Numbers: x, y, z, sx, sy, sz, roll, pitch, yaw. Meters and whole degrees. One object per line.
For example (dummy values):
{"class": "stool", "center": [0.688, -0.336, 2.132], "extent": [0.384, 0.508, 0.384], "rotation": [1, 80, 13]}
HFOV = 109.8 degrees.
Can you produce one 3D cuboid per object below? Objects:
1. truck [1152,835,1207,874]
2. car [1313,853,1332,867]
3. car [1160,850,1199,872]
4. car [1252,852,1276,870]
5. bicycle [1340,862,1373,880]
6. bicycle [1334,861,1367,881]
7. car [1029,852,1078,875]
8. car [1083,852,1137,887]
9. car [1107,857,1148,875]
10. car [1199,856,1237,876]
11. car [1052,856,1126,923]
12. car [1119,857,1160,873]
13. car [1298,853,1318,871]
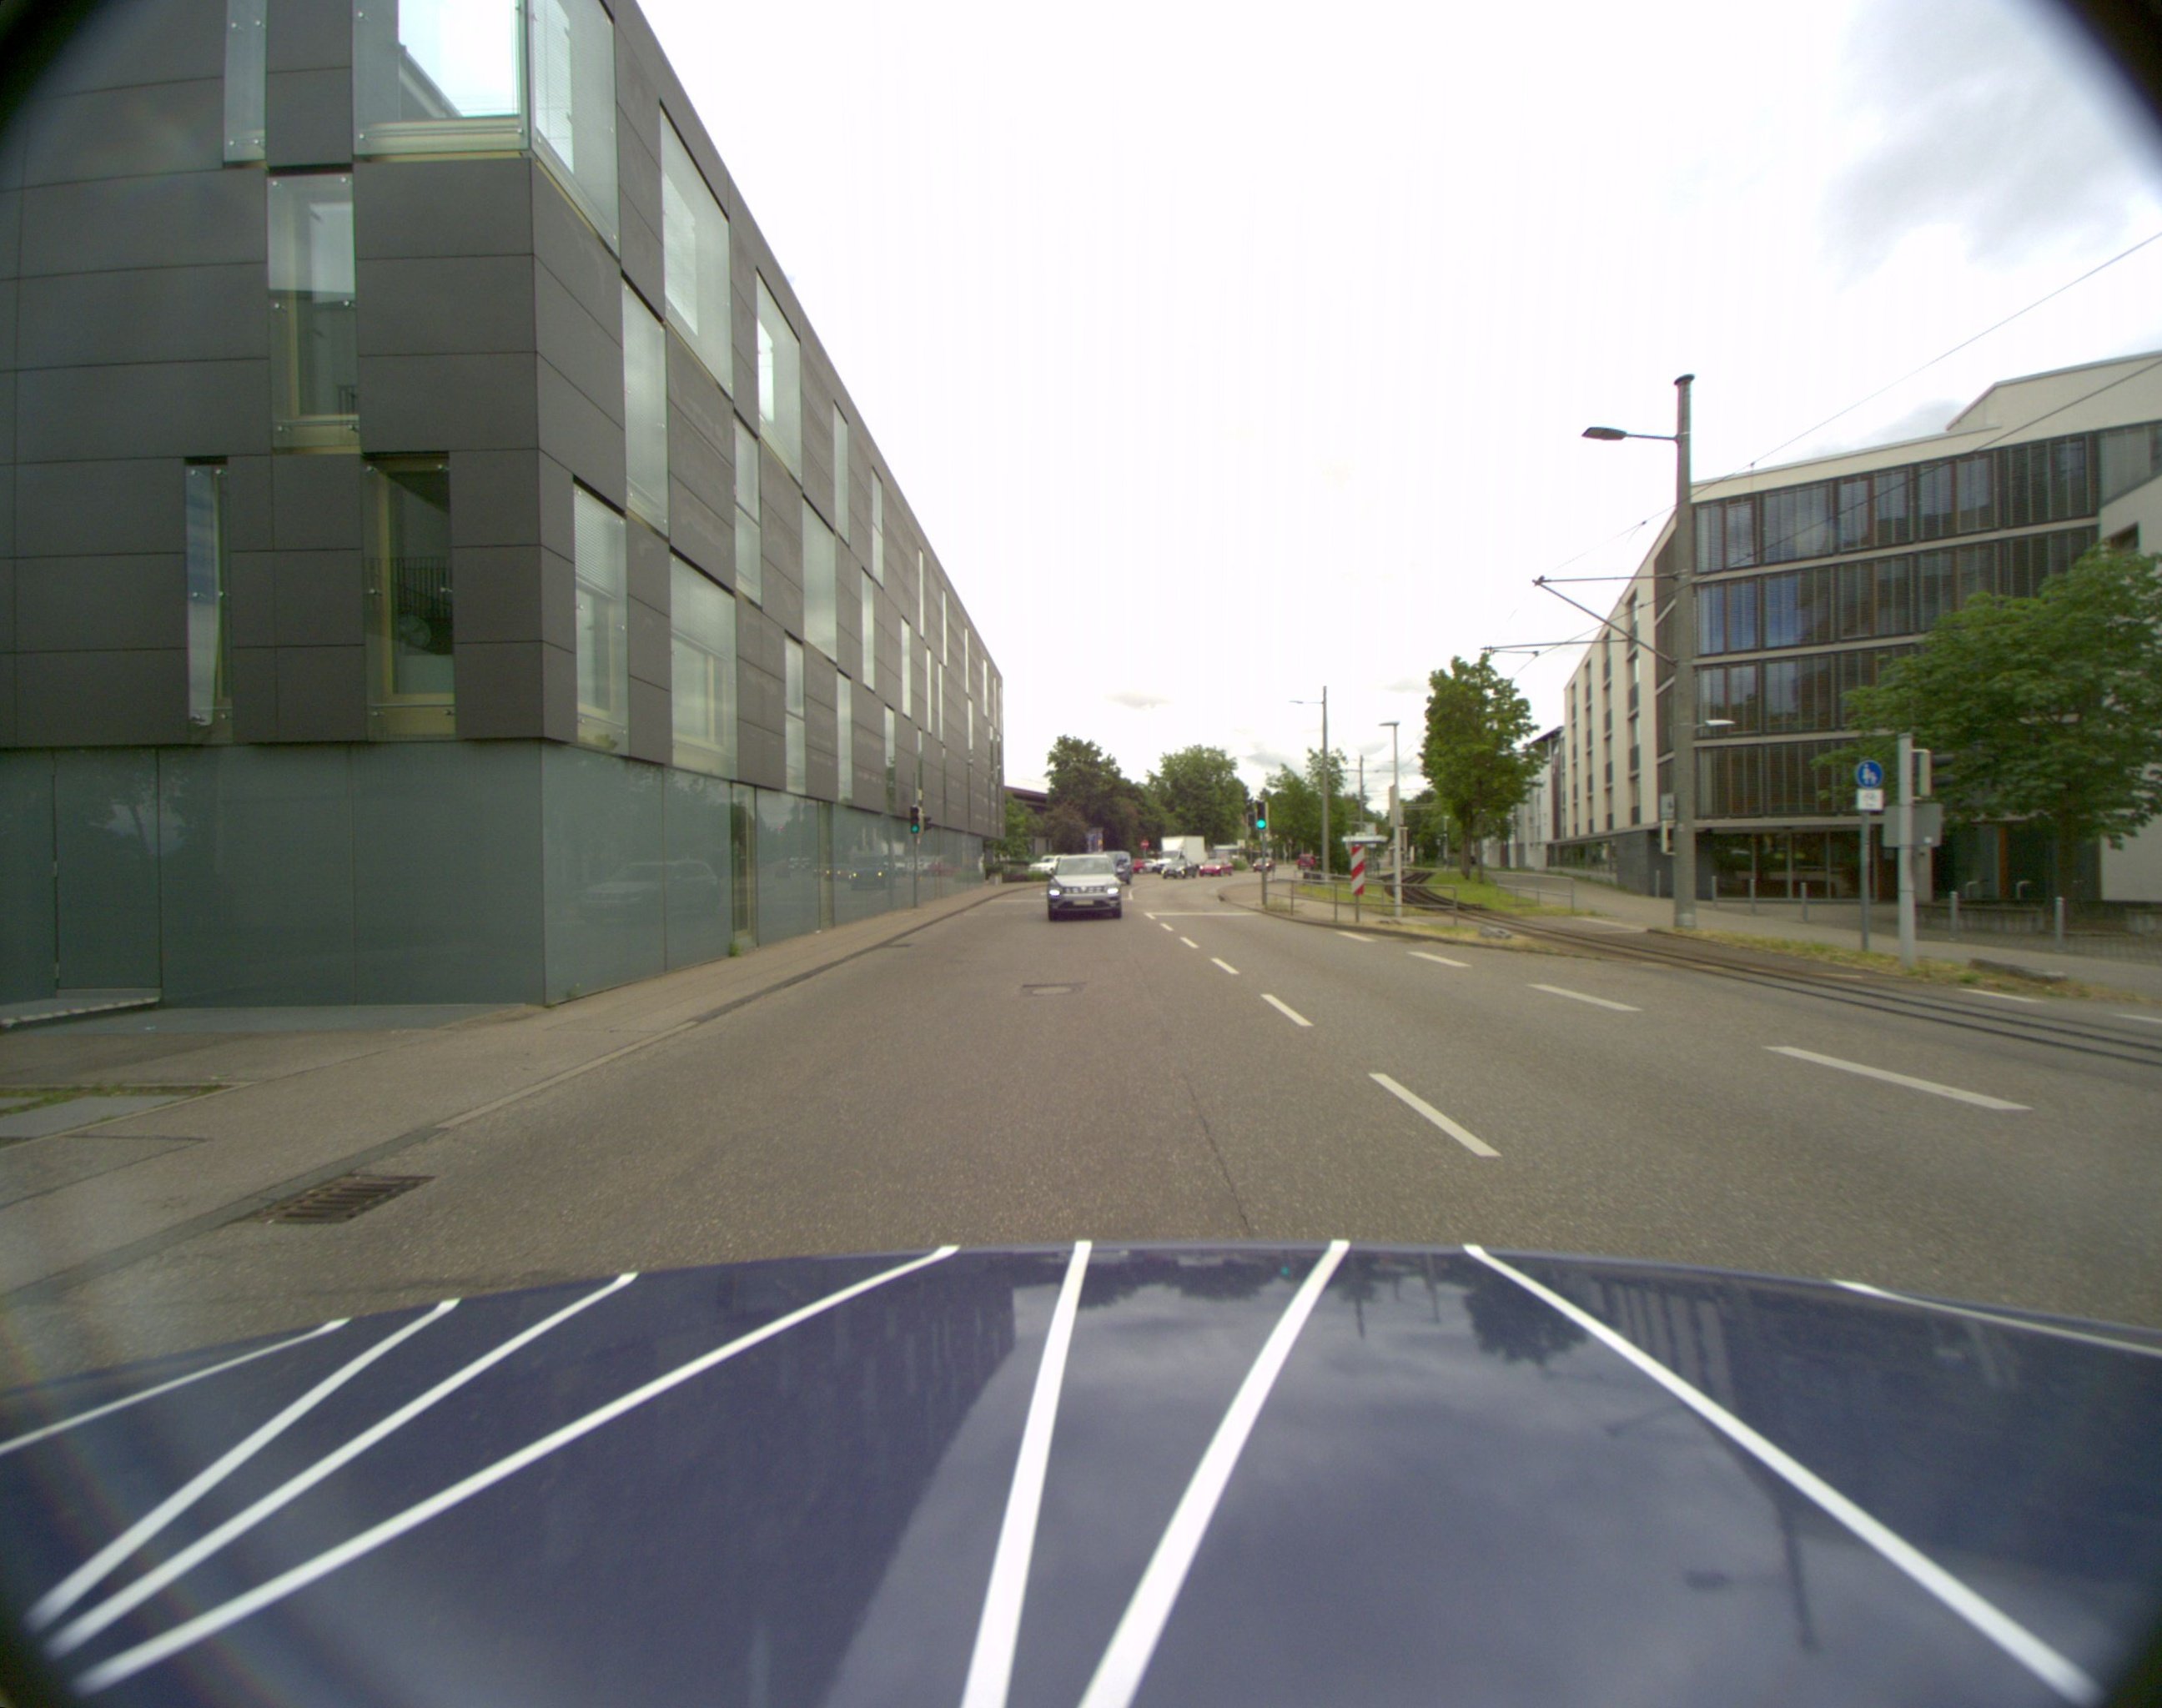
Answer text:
{"class": "truck", "center": [9.214, -0.016, 70.261], "extent": [2.536, 3.406, 7.789], "rotation": [-1, 1, 27]}
{"class": "car", "center": [28.211, 0.689, 88.657], "extent": [1.769, 1.470, 4.006], "rotation": [1, 1, 22]}
{"class": "car", "center": [7.346, 0.499, 56.403], "extent": [1.846, 1.525, 4.006], "rotation": [-1, 0, 23]}
{"class": "car", "center": [19.348, 0.752, 80.242], "extent": [1.846, 1.850, 4.265], "rotation": [-1, 0, 23]}
{"class": "bicycle", "center": [16.292, 1.007, 44.999], "extent": [1.750, 1.040, 0.409], "rotation": [-3, 0, 28]}
{"class": "bicycle", "center": [15.427, 0.992, 43.544], "extent": [1.707, 1.082, 0.408], "rotation": [-2, 0, 14]}
{"class": "car", "center": [-2.143, 0.749, 60.679], "extent": [1.853, 1.747, 4.730], "rotation": [-1, 0, 26]}
{"class": "car", "center": [1.642, 0.828, 41.851], "extent": [1.847, 1.850, 4.006], "rotation": [-1, 0, 19]}
{"class": "car", "center": [4.474, 1.145, 73.687], "extent": [3.894, 1.475, 1.683], "rotation": [-3, 0, 2]}
{"class": "car", "center": [11.245, 0.990, 62.233], "extent": [1.846, 1.525, 4.008], "rotation": [1, 0, 29]}
{"class": "car", "center": [0.261, 0.891, 21.031], "extent": [1.811, 1.637, 4.331], "rotation": [-1, 0, 2]}
{"class": "car", "center": [6.030, 1.115, 78.472], "extent": [3.999, 1.402, 1.524], "rotation": [-3, 0, -5]}
{"class": "car", "center": [24.926, 0.852, 83.316], "extent": [1.682, 1.798, 4.359], "rotation": [1, 1, 22]}
